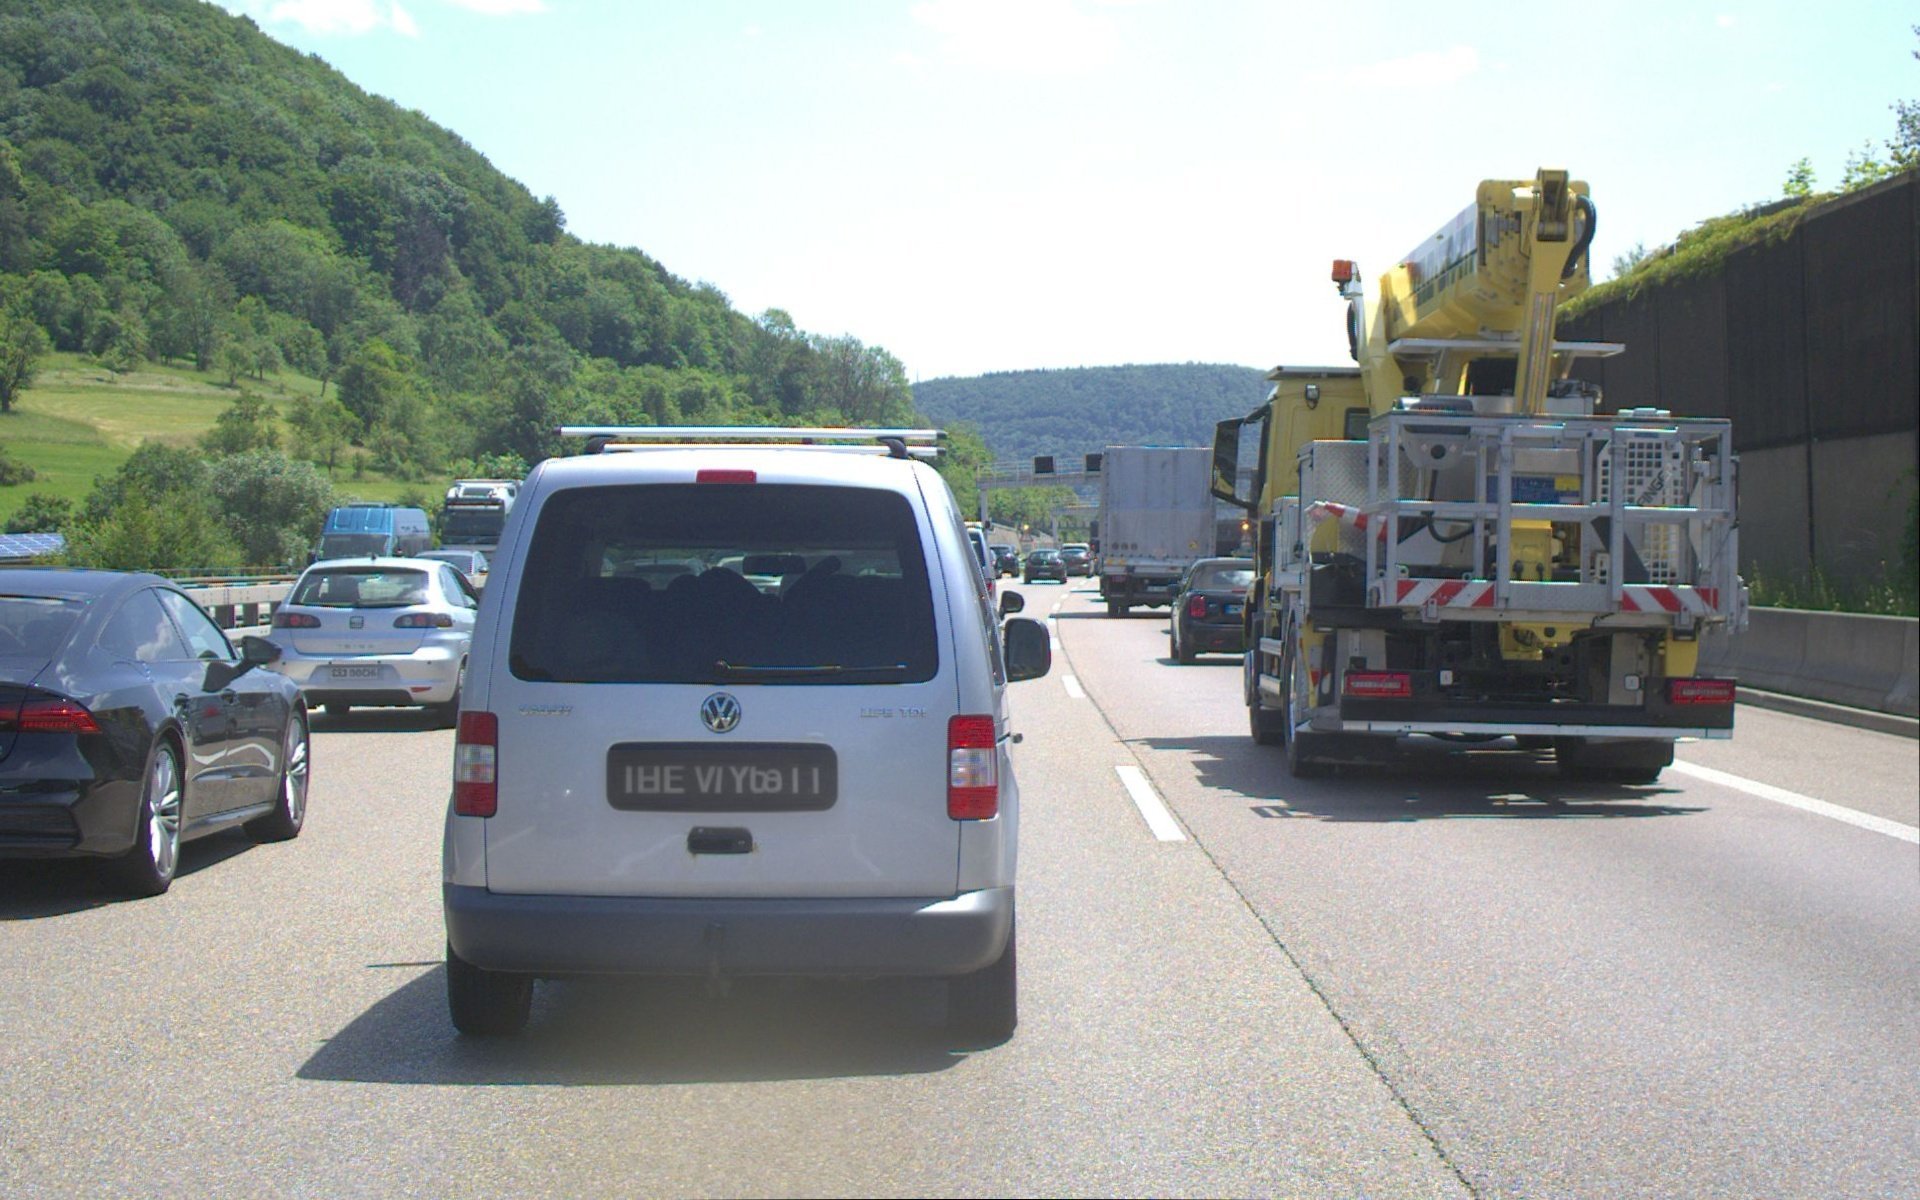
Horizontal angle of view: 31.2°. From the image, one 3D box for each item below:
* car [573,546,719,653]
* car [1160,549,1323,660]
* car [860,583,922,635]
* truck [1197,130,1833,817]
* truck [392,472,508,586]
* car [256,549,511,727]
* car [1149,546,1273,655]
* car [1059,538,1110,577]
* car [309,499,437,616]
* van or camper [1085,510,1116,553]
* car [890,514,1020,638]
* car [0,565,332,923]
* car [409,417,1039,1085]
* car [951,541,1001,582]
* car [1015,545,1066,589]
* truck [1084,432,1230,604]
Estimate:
[{"bbox_3d":[-4.593,-0.042,50.770,1.924,1.494,4.001,1,1,-2],"label":"car"},{"bbox_3d":[3.821,0.033,47.273,1.786,1.453,3.771,0,1,-2],"label":"car"},{"bbox_3d":[-2.477,0.305,124.079,2.114,1.821,4.000,1,0,0],"label":"car"},{"bbox_3d":[3.487,-0.791,24.075,2.703,3.929,8.723,0,1,-2],"label":"truck"},{"bbox_3d":[-19.034,-2.627,128.732,3.278,4.134,6.955,0,0,0],"label":"truck"},{"bbox_3d":[-4.953,0.280,29.970,1.695,1.440,3.862,0,1,-2],"label":"car"},{"bbox_3d":[4.727,-0.027,65.195,1.993,2.007,4.000,0,1,-1],"label":"car"},{"bbox_3d":[5.977,-2.039,166.039,2.114,1.821,4.000,1,0,-3],"label":"car"},{"bbox_3d":[-15.047,-1.077,88.510,2.155,2.852,6.399,1,0,0],"label":"car"},{"bbox_3d":[10.037,-4.908,246.483,1.993,2.943,5.423,1,0,0],"label":"van or camper"},{"bbox_3d":[-0.122,-0.410,56.818,1.993,1.969,4.001,0,1,-2],"label":"car"},{"bbox_3d":[-4.264,0.543,16.015,1.800,1.385,4.970,0,1,0],"label":"car"},{"bbox_3d":[-0.740,0.389,11.620,1.756,1.861,4.001,0,1,-2],"label":"car"},{"bbox_3d":[0.744,-1.773,159.652,2.114,1.821,4.000,1,0,-3],"label":"car"},{"bbox_3d":[3.285,-1.342,140.341,1.993,1.743,4.000,1,0,1],"label":"car"},{"bbox_3d":[4.577,-1.874,81.375,2.940,3.810,8.237,1,0,0],"label":"truck"}]
